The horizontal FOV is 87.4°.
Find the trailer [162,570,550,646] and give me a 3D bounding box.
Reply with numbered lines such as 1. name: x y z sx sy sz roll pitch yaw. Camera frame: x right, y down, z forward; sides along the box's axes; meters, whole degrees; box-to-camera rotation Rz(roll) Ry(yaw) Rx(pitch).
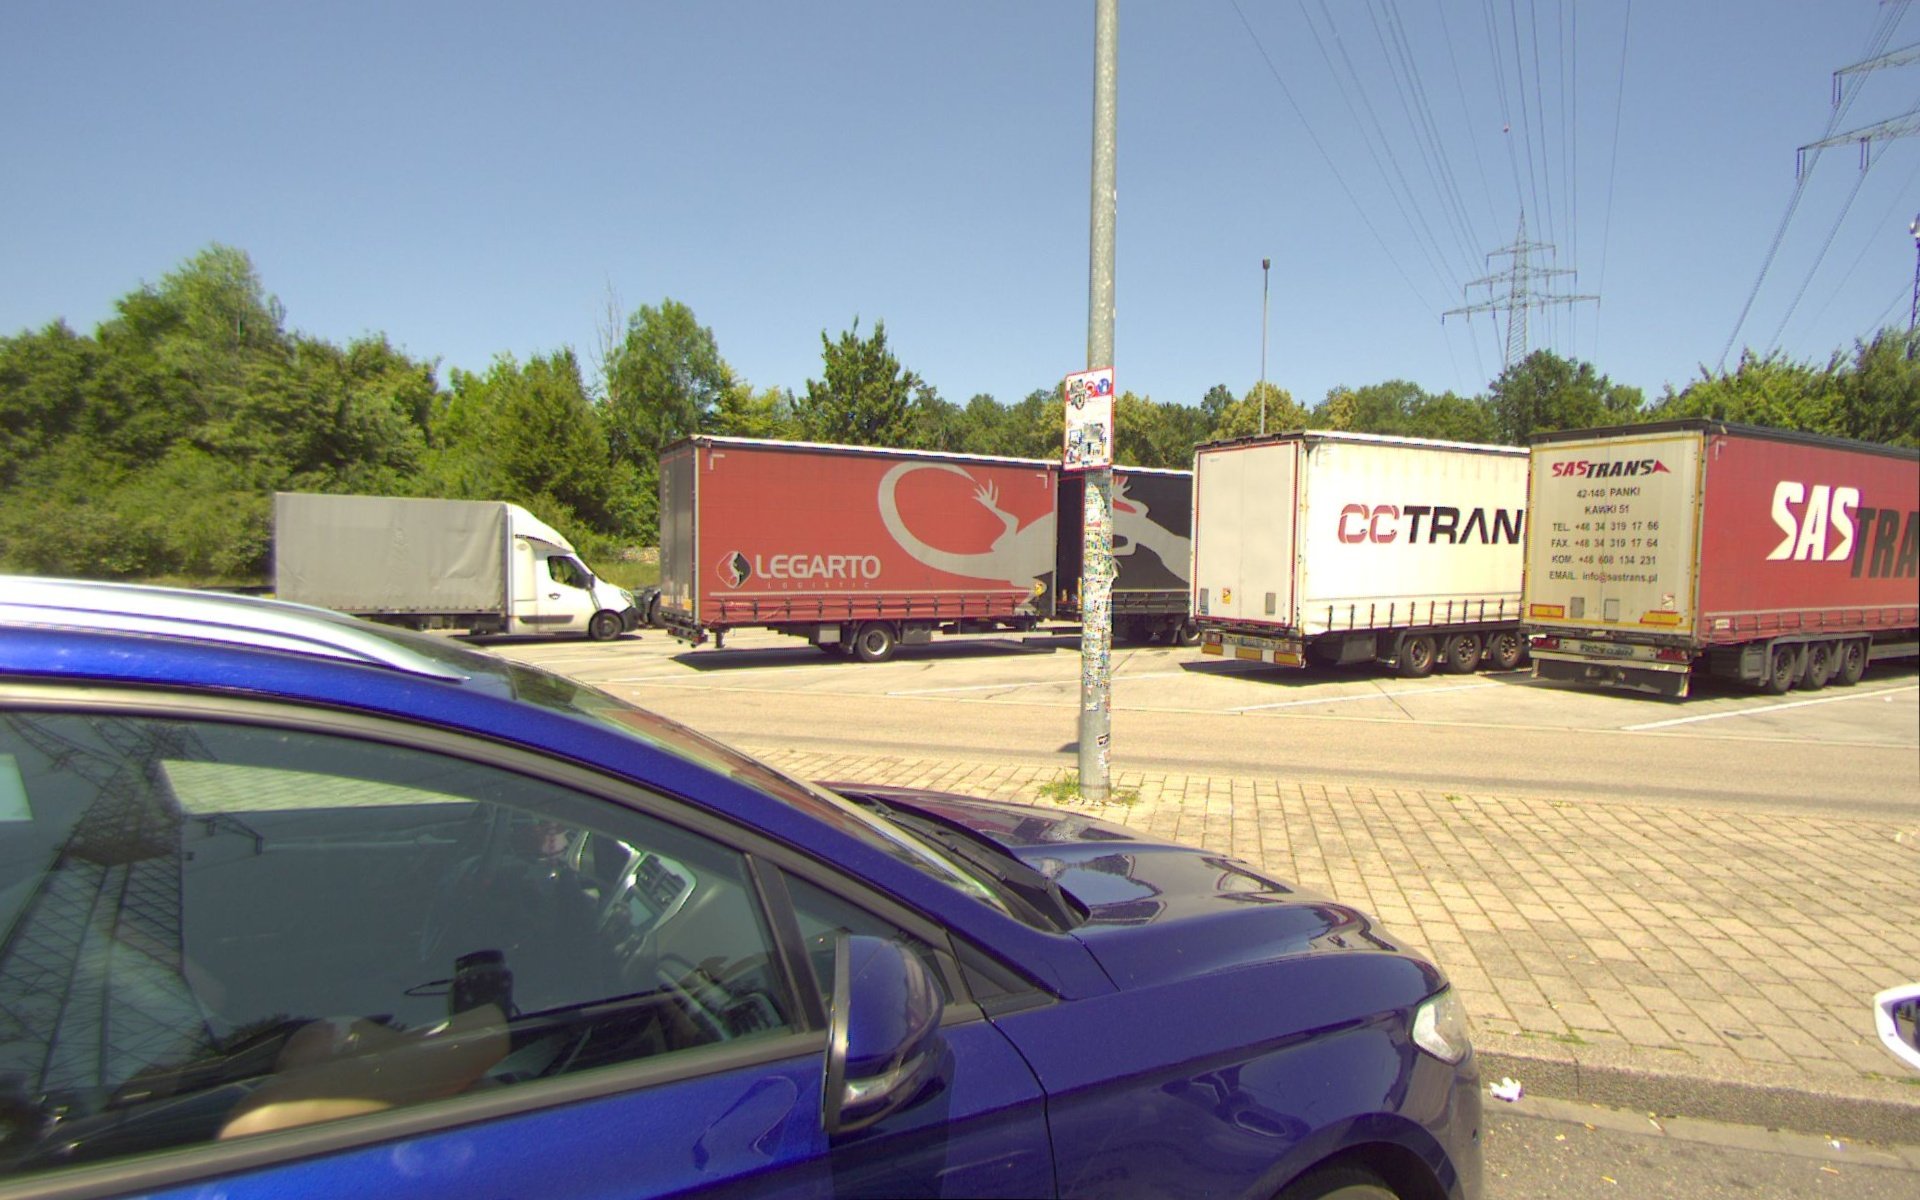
1. trailer: -14.746 0.101 25.230 8.007 1.648 2.199 -1 3 -30

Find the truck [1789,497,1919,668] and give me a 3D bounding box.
1. truck: 21.262 -0.406 22.046 5.903 3.409 2.798 -1 3 -30

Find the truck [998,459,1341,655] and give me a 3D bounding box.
1. truck: 5.275 -1.002 24.536 8.586 4.127 2.693 -1 3 -30

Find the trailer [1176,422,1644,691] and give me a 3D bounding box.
1. trailer: 8.977 -0.773 19.342 10.264 4.158 2.693 -1 3 -30

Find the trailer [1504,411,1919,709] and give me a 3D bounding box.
1. trailer: 15.470 -0.679 18.608 13.599 4.127 2.807 -1 3 -31

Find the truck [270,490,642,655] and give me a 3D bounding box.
1. truck: -11.235 -0.626 22.991 7.187 3.289 2.694 -1 3 -29

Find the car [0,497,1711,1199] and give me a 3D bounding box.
1. car: -0.967 0.653 1.449 4.522 1.491 1.743 0 2 -32

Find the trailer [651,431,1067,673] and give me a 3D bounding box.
1. trailer: -1.877 -0.906 20.328 8.007 4.127 2.693 -1 3 -30

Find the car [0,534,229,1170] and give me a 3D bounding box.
1. car: -4.409 0.581 2.086 4.522 1.526 1.743 0 2 -32
